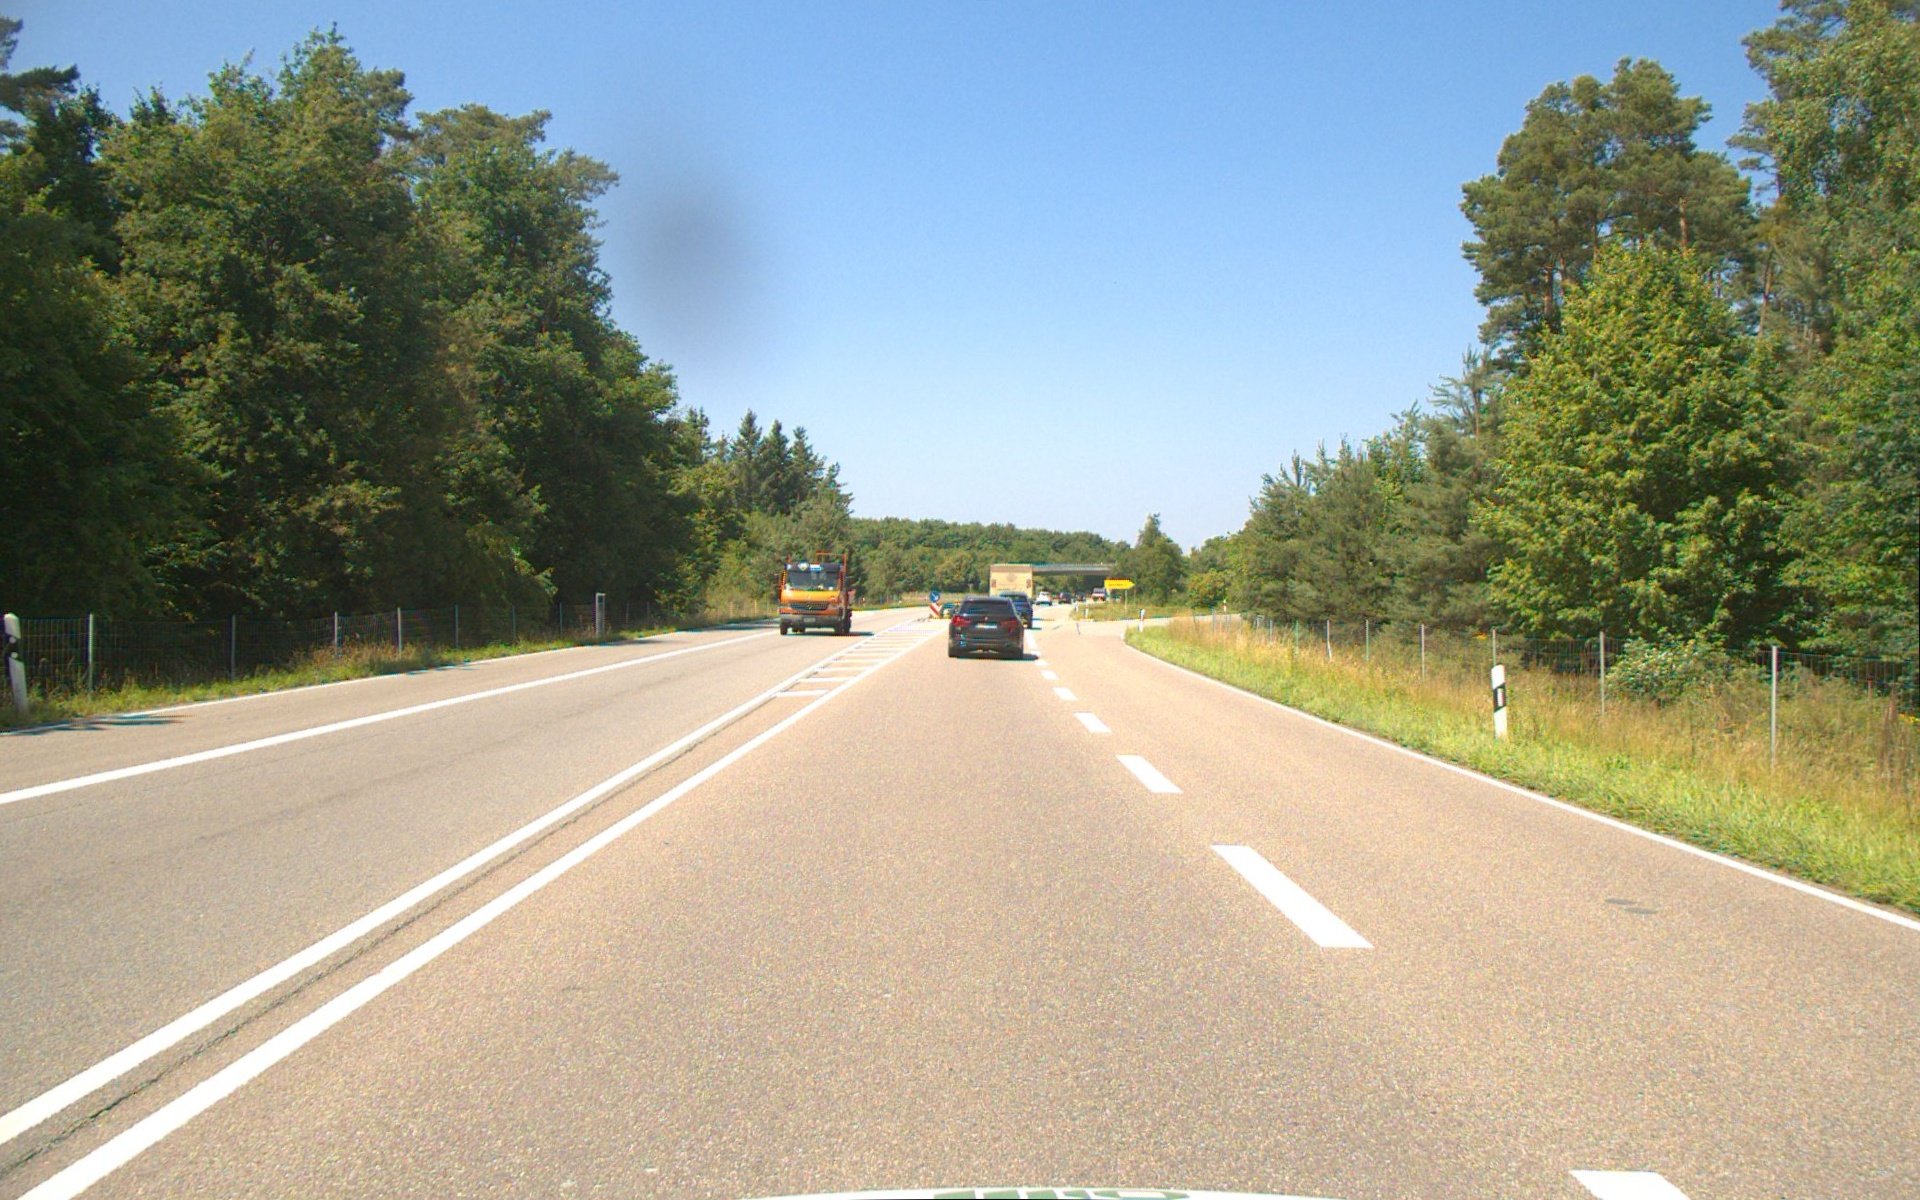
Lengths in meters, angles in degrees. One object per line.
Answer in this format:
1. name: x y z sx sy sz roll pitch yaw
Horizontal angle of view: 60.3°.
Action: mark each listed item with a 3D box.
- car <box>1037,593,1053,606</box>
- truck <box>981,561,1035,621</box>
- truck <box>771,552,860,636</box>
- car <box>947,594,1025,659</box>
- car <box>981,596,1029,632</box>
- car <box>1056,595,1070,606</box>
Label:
1. car: 10.723 -0.059 209.466 1.825 1.633 4.000 1 0 1
2. truck: 2.830 -0.568 99.761 2.906 3.447 6.436 1 0 -2
3. truck: -5.044 -0.205 58.740 2.349 2.770 6.553 1 0 2
4. car: 0.588 0.619 40.703 1.783 1.496 3.999 0 0 -1
5. car: 2.043 0.632 75.564 1.908 1.568 3.998 0 0 -2
6. car: 15.167 0.088 242.702 1.951 1.445 4.002 2 0 5
